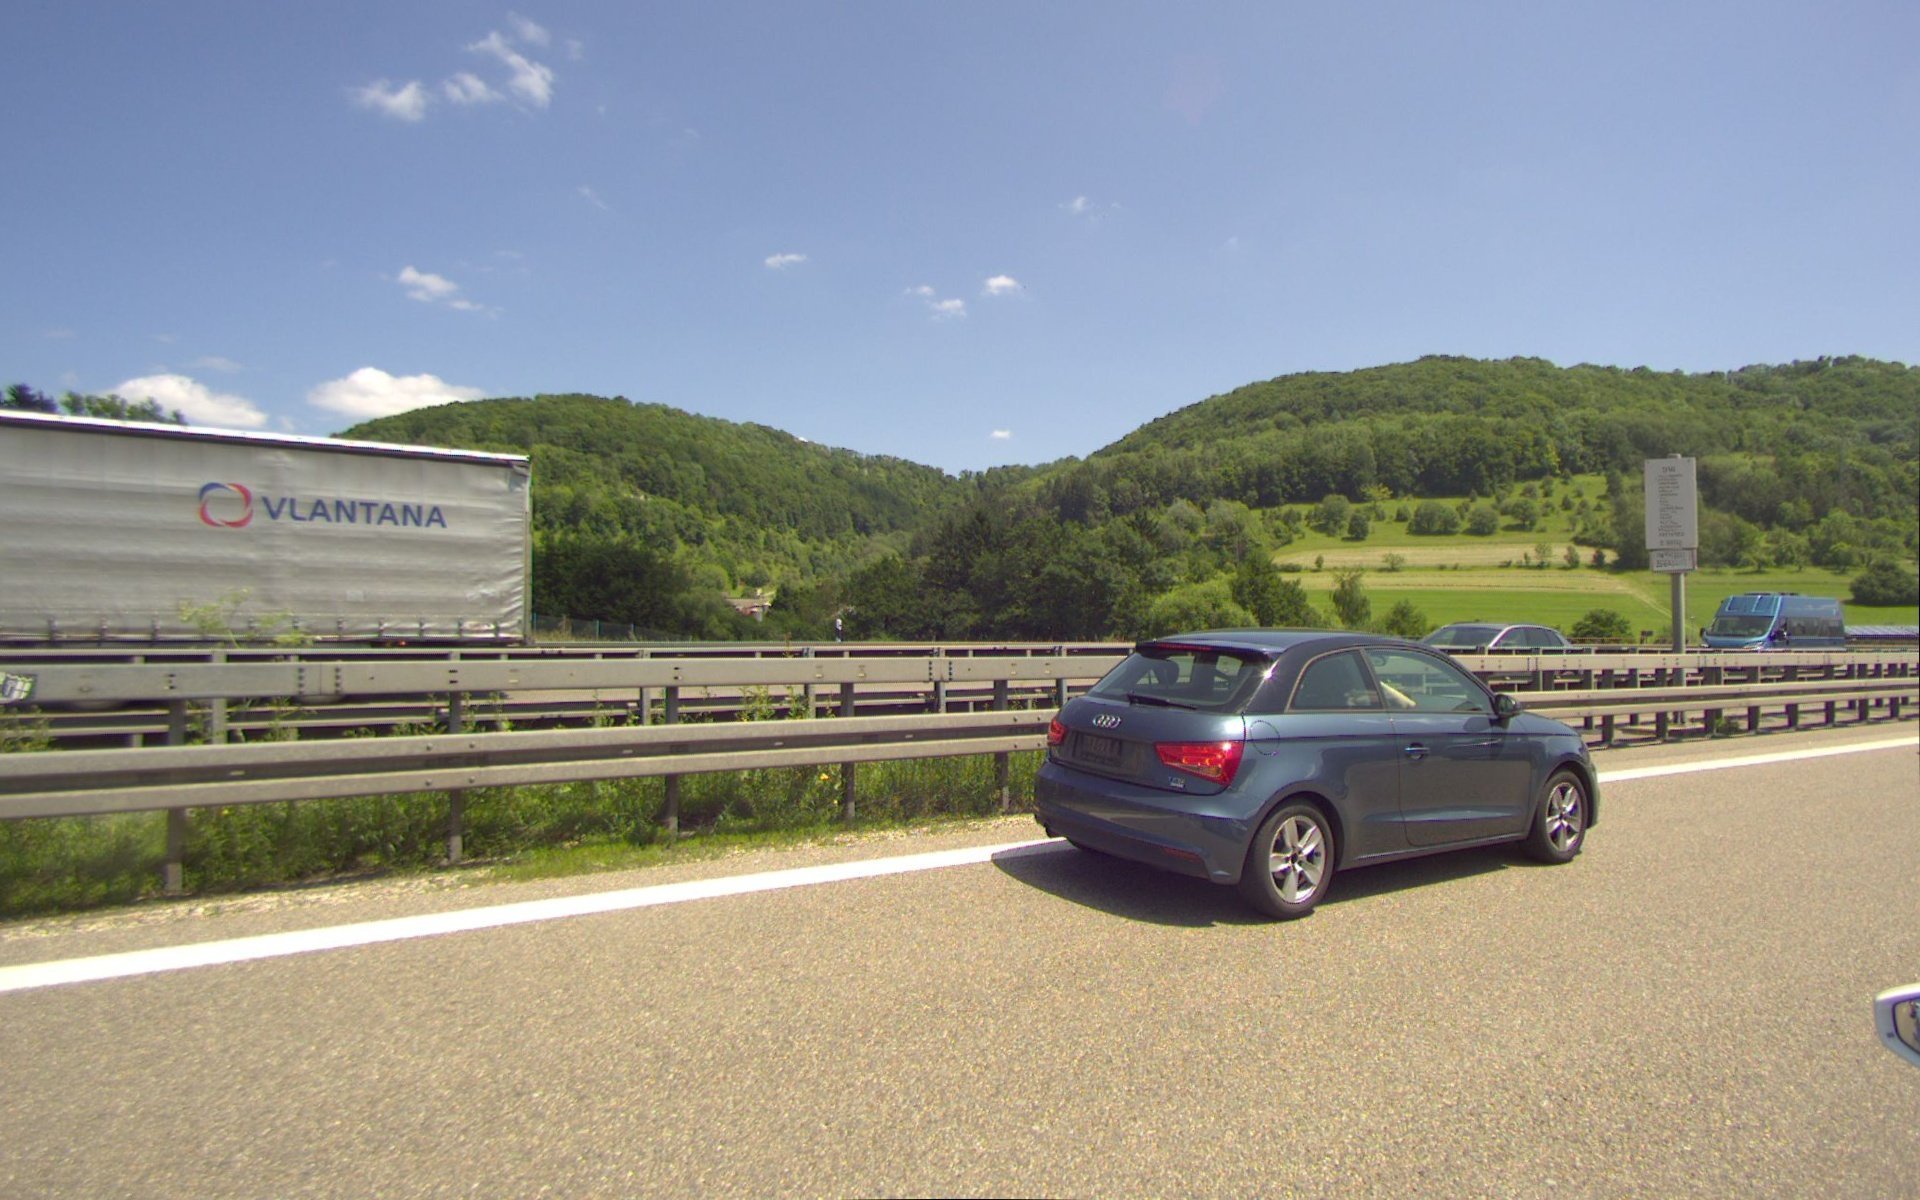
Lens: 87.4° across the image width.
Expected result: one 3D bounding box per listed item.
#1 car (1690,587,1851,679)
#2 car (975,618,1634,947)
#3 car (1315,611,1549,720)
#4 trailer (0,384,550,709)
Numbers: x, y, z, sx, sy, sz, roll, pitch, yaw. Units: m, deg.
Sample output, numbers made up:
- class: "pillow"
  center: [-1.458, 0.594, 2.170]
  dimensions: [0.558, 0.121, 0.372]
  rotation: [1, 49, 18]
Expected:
- class: "car"
  center: [27.677, 1.118, 34.246]
  dimensions: [6.324, 2.900, 2.145]
  rotation: [2, 0, -30]
- class: "car"
  center: [2.207, 0.849, 6.122]
  dimensions: [3.955, 1.407, 1.680]
  rotation: [2, -1, -32]
- class: "car"
  center: [8.535, 1.108, 18.064]
  dimensions: [4.236, 1.732, 1.836]
  rotation: [1, -1, -33]
- class: "trailer"
  center: [-13.300, -0.713, 14.339]
  dimensions: [13.459, 4.247, 2.840]
  rotation: [2, 0, -31]
